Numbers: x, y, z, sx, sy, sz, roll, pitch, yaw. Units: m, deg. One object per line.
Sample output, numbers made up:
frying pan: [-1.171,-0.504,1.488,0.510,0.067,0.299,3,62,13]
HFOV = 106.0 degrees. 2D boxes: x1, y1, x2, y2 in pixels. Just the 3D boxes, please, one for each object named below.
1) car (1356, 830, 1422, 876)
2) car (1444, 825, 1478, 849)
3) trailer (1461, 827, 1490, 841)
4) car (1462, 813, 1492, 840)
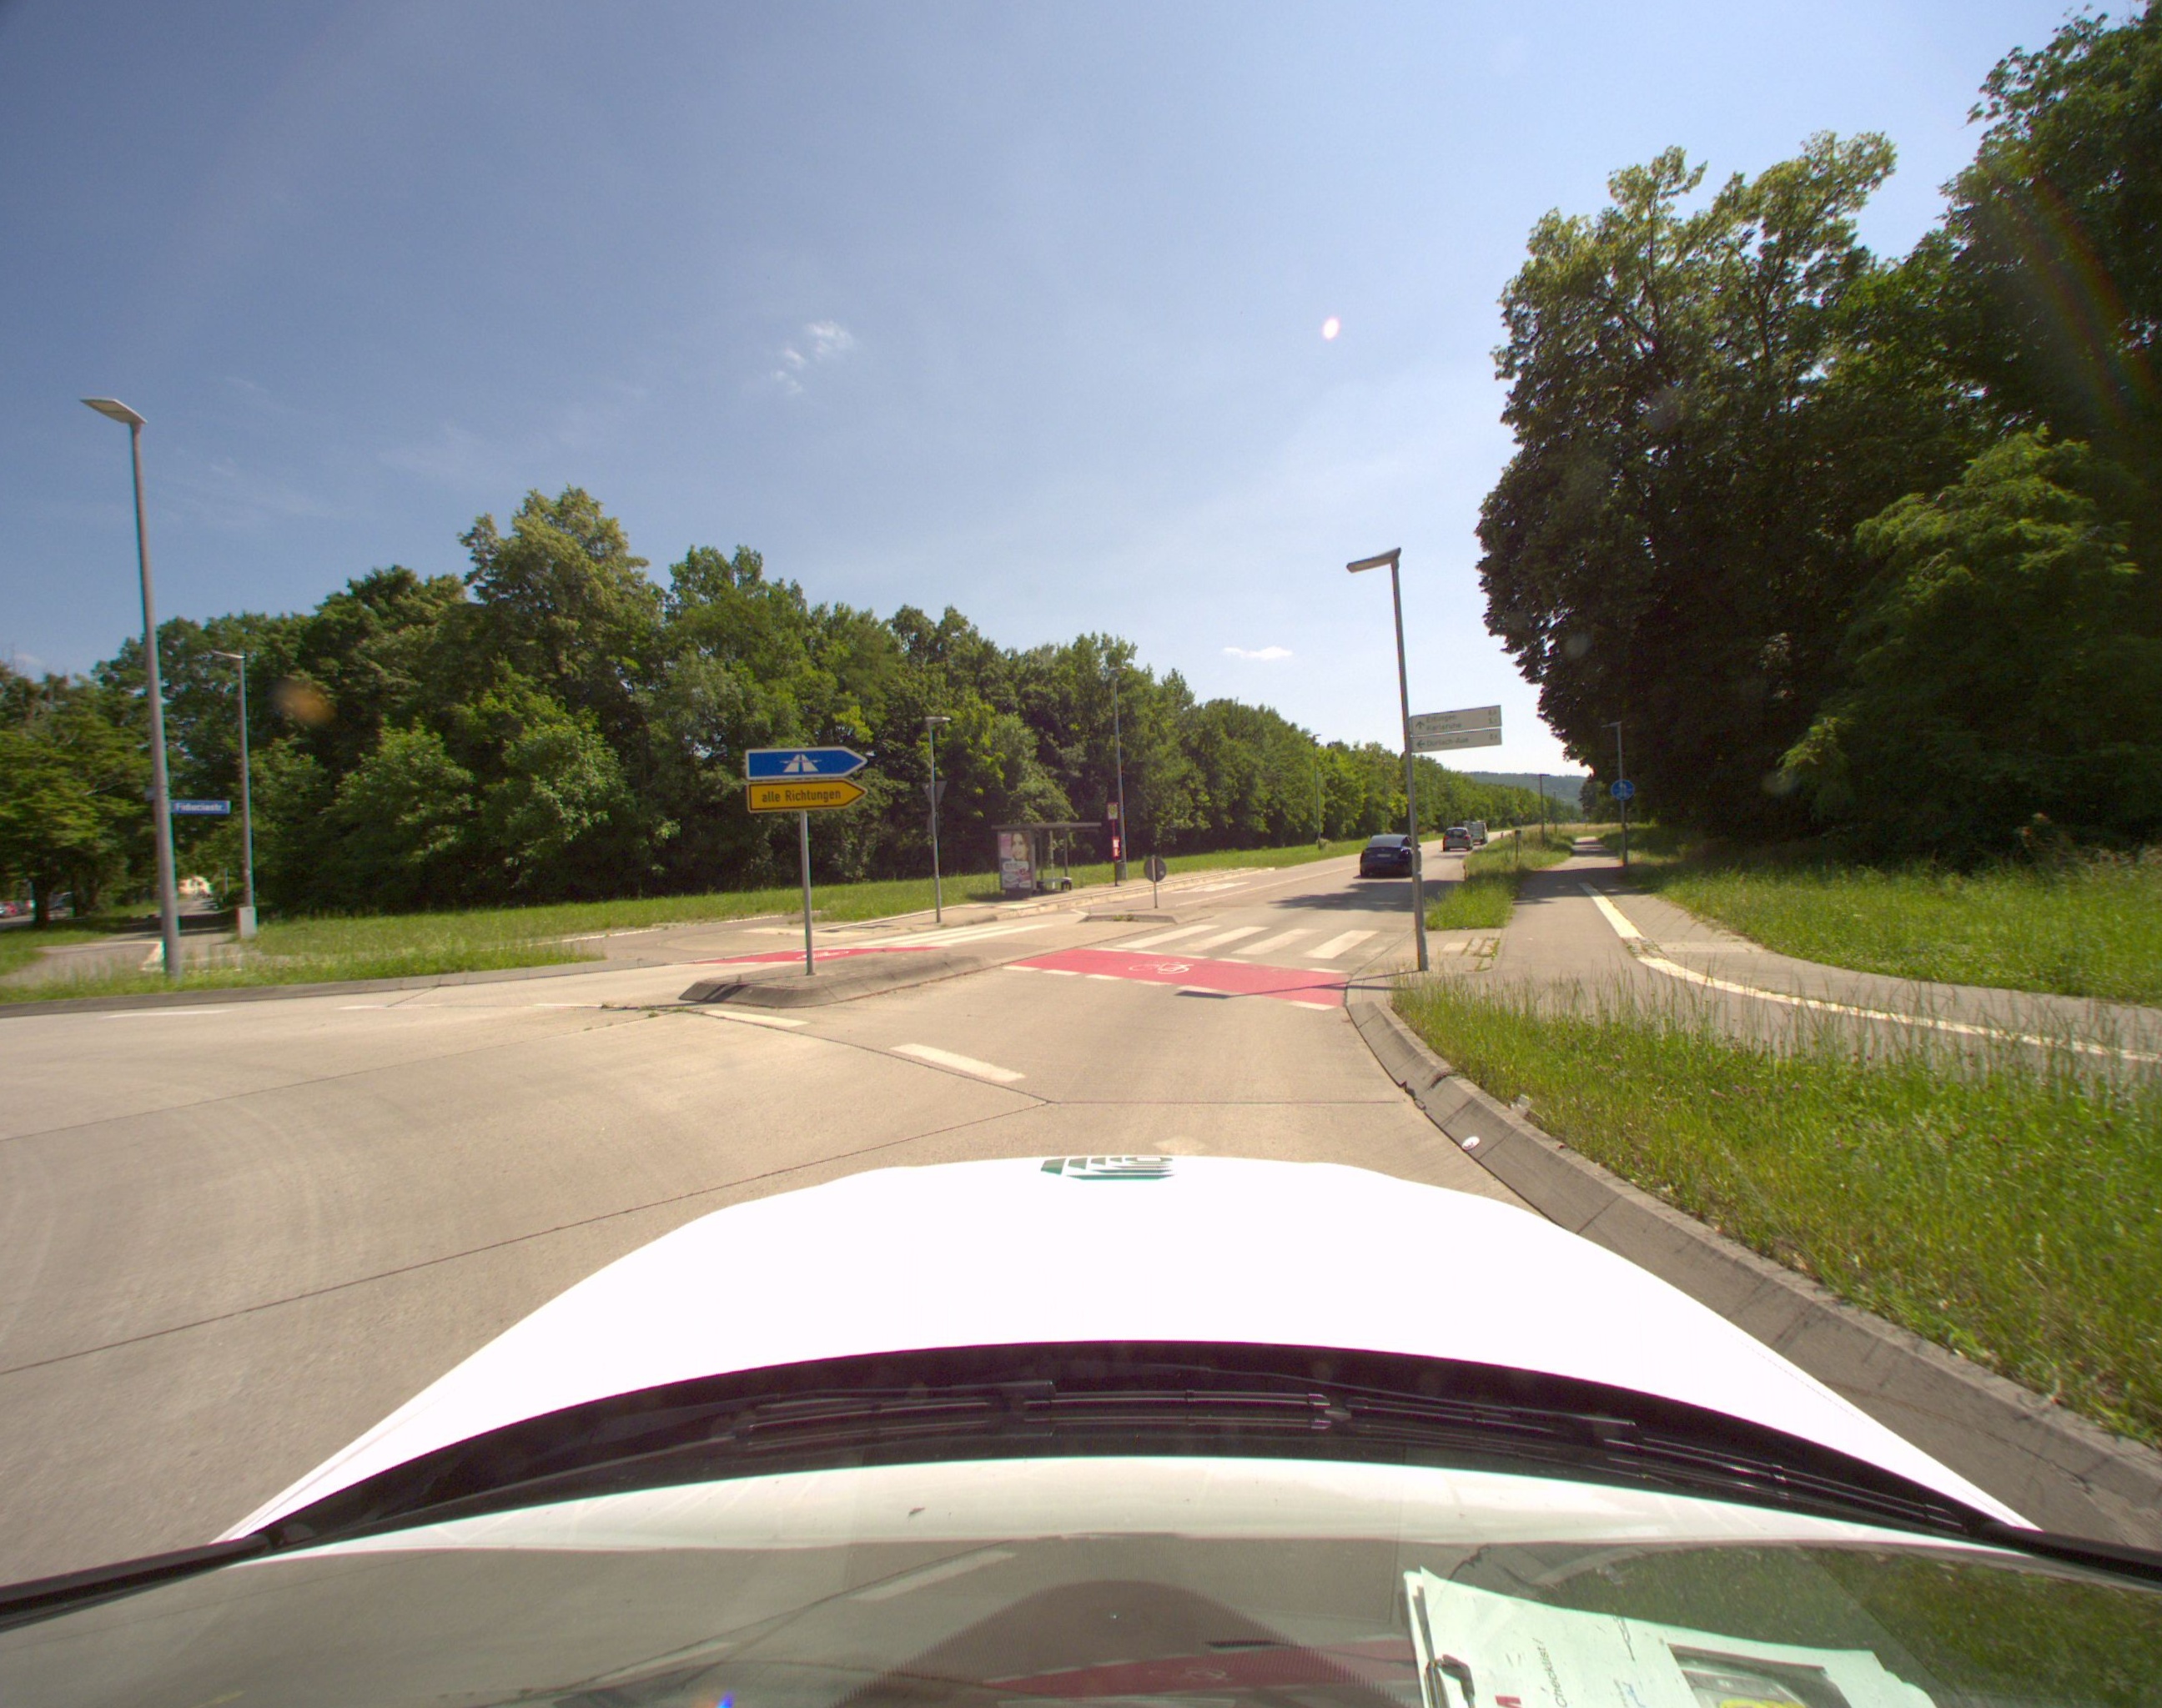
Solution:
car: [12.321,-0.082,32.371,1.975,1.639,4.786,-2,1,26]
car: [26.305,-1.195,56.314,1.767,1.606,4.154,-1,1,30]
trailer: [33.590,-1.739,69.375,2.101,1.097,3.375,-1,1,27]
car: [35.565,-2.466,73.049,2.145,2.316,5.012,-1,1,29]
